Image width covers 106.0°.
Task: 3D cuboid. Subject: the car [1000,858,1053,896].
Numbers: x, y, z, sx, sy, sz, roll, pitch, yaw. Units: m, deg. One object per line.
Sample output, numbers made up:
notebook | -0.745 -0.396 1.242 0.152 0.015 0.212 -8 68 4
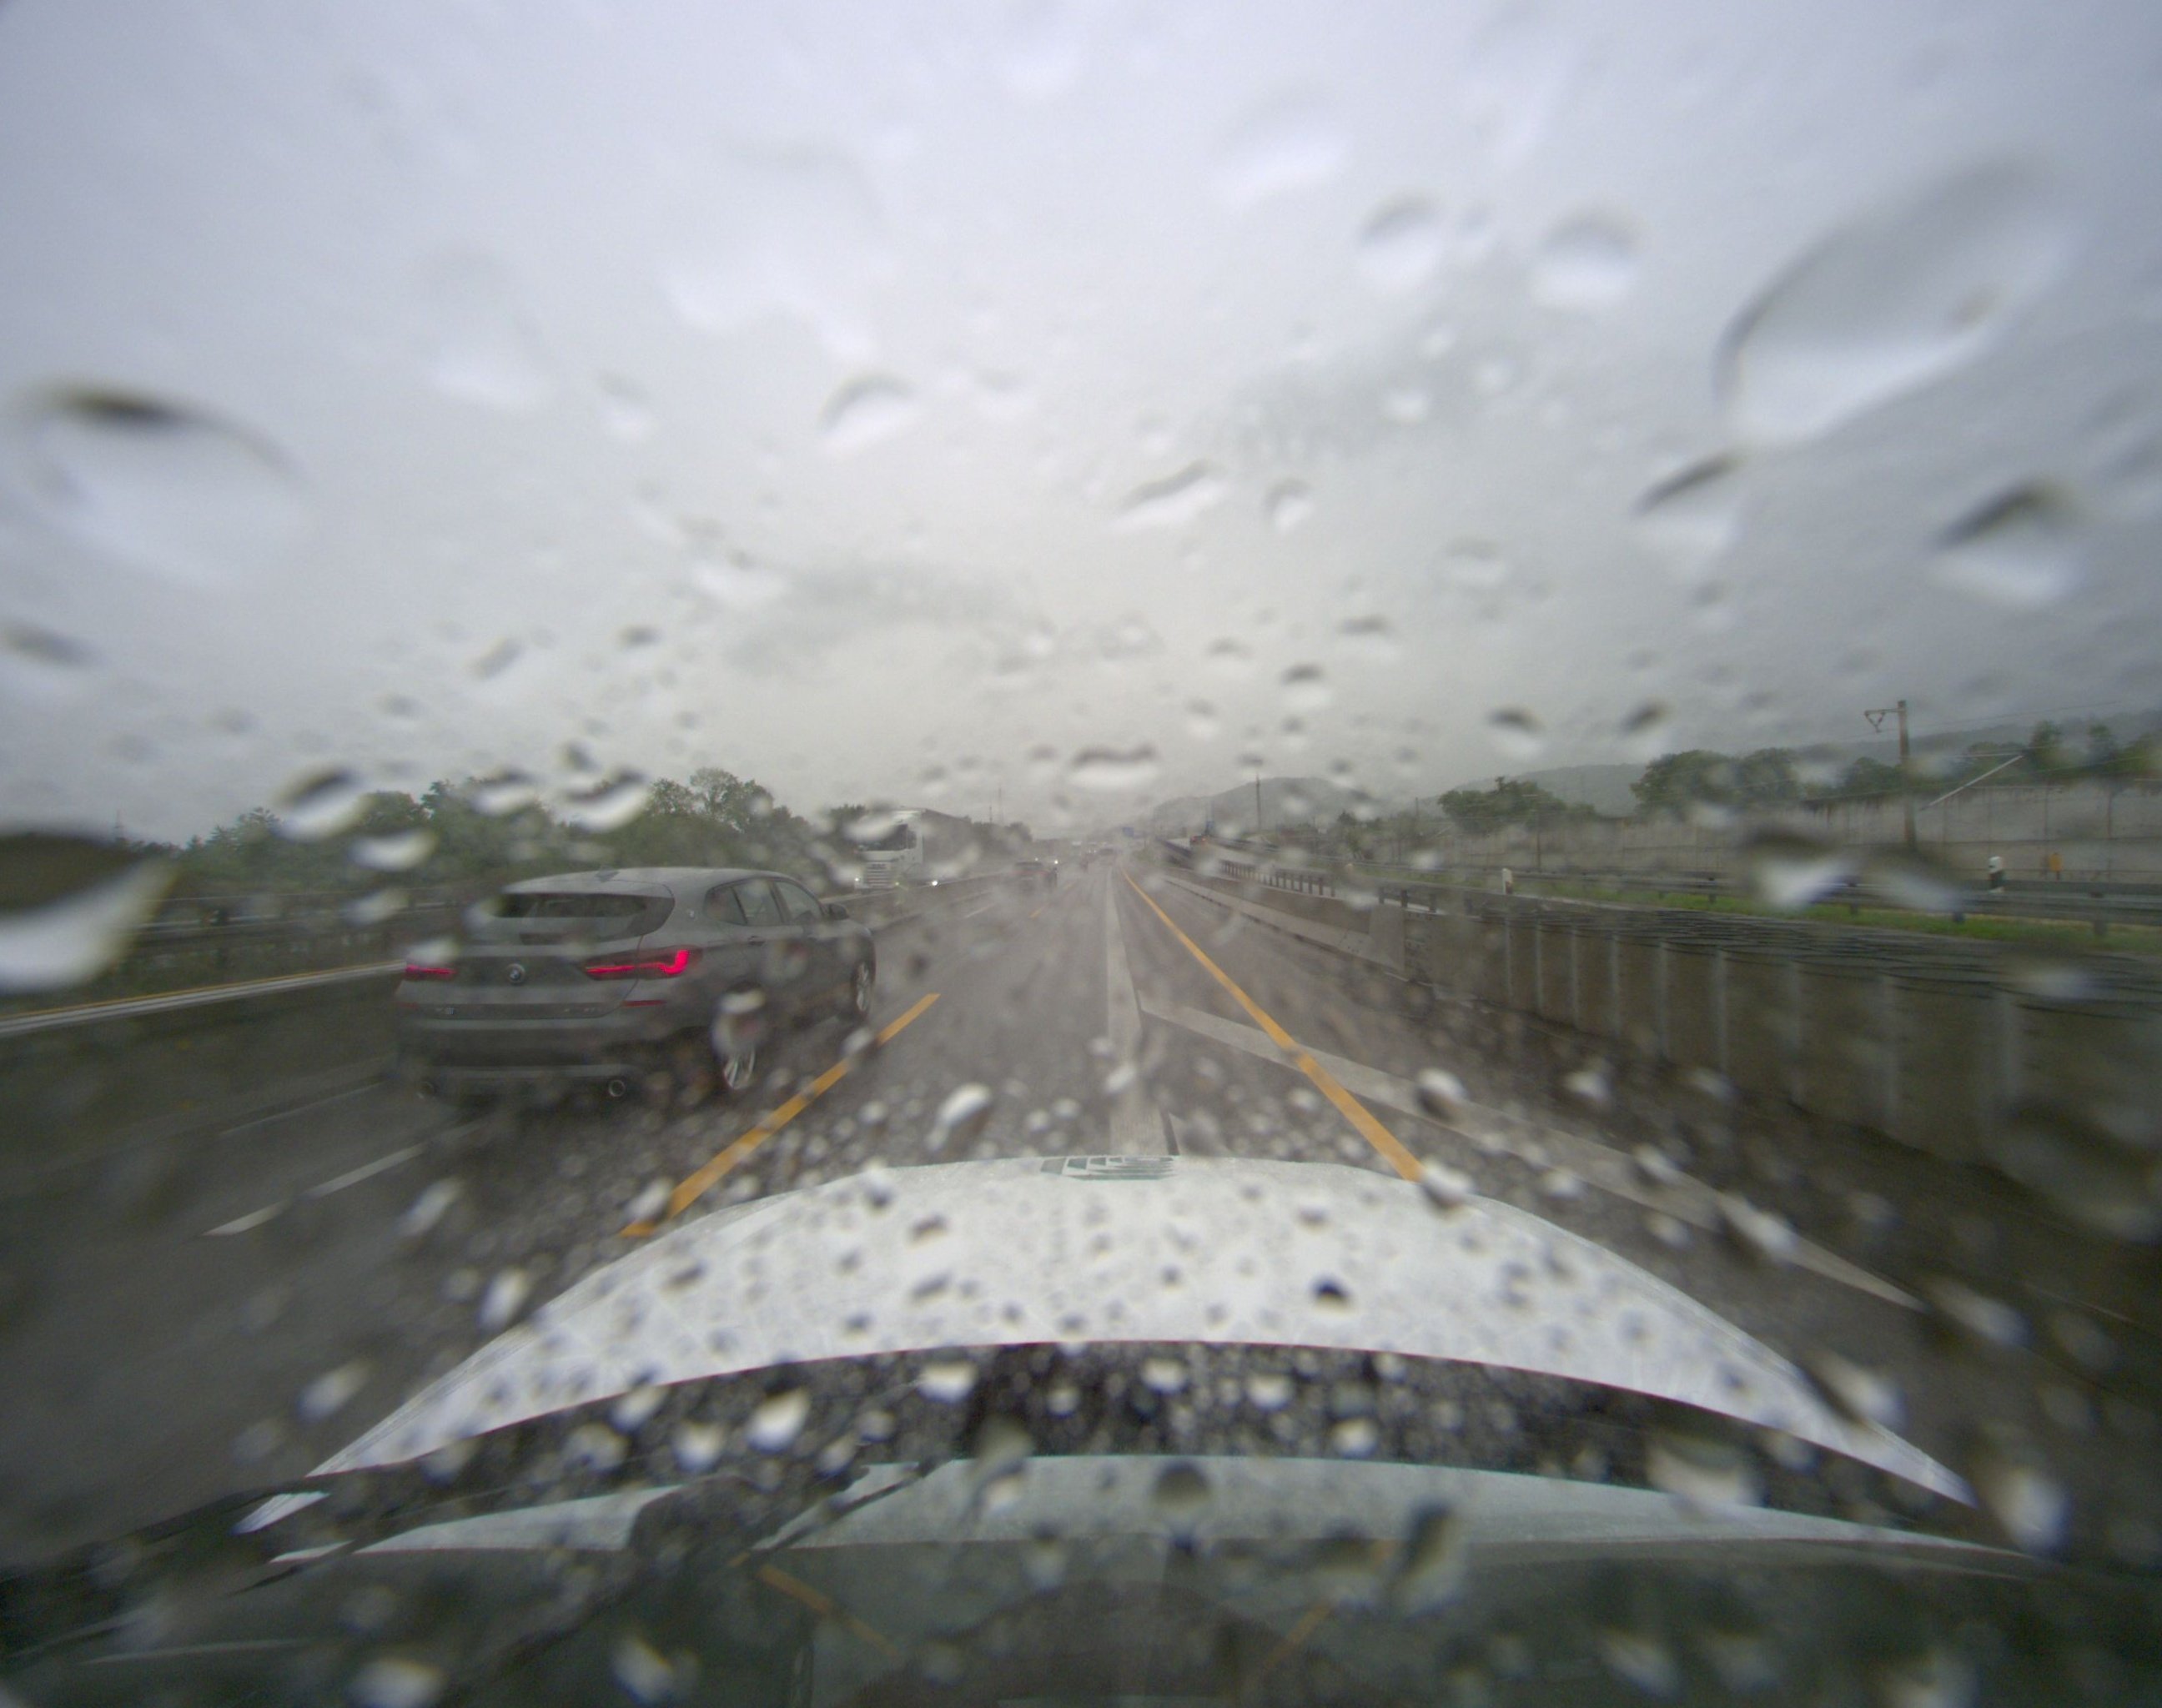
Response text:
car | -2.246 0.930 34.430 1.837 1.491 4.262 -1 -1 1

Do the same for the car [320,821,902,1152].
car | -2.894 0.689 6.504 1.694 1.598 4.846 -2 -1 1

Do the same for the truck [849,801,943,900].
truck | -8.649 -0.111 38.970 2.698 4.277 6.752 -1 -1 2

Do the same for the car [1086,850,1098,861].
car | 1.622 0.267 117.805 1.561 1.480 2.822 -4 -1 1

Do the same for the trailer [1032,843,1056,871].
trailer | -5.532 0.532 124.860 2.640 4.109 12.320 -1 -1 2

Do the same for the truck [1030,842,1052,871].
truck | -5.769 0.372 118.776 2.632 4.127 6.699 -1 -1 2

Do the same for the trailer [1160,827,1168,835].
trailer | 25.818 -7.109 253.749 1.984 2.106 13.786 -1 -1 5

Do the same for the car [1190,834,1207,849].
car | 17.324 -1.836 120.314 1.986 2.142 4.001 -1 -1 1

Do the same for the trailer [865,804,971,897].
trailer | -8.464 -0.099 44.350 2.676 4.277 13.076 -1 -1 2

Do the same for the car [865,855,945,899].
car | -6.251 0.808 29.434 1.886 1.484 4.001 0 -1 2

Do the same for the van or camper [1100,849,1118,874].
van or camper | 3.213 0.867 93.590 1.989 2.777 4.050 -1 -1 1

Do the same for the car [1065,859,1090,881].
car | -0.238 1.276 65.412 1.837 1.491 4.263 -4 1 1
